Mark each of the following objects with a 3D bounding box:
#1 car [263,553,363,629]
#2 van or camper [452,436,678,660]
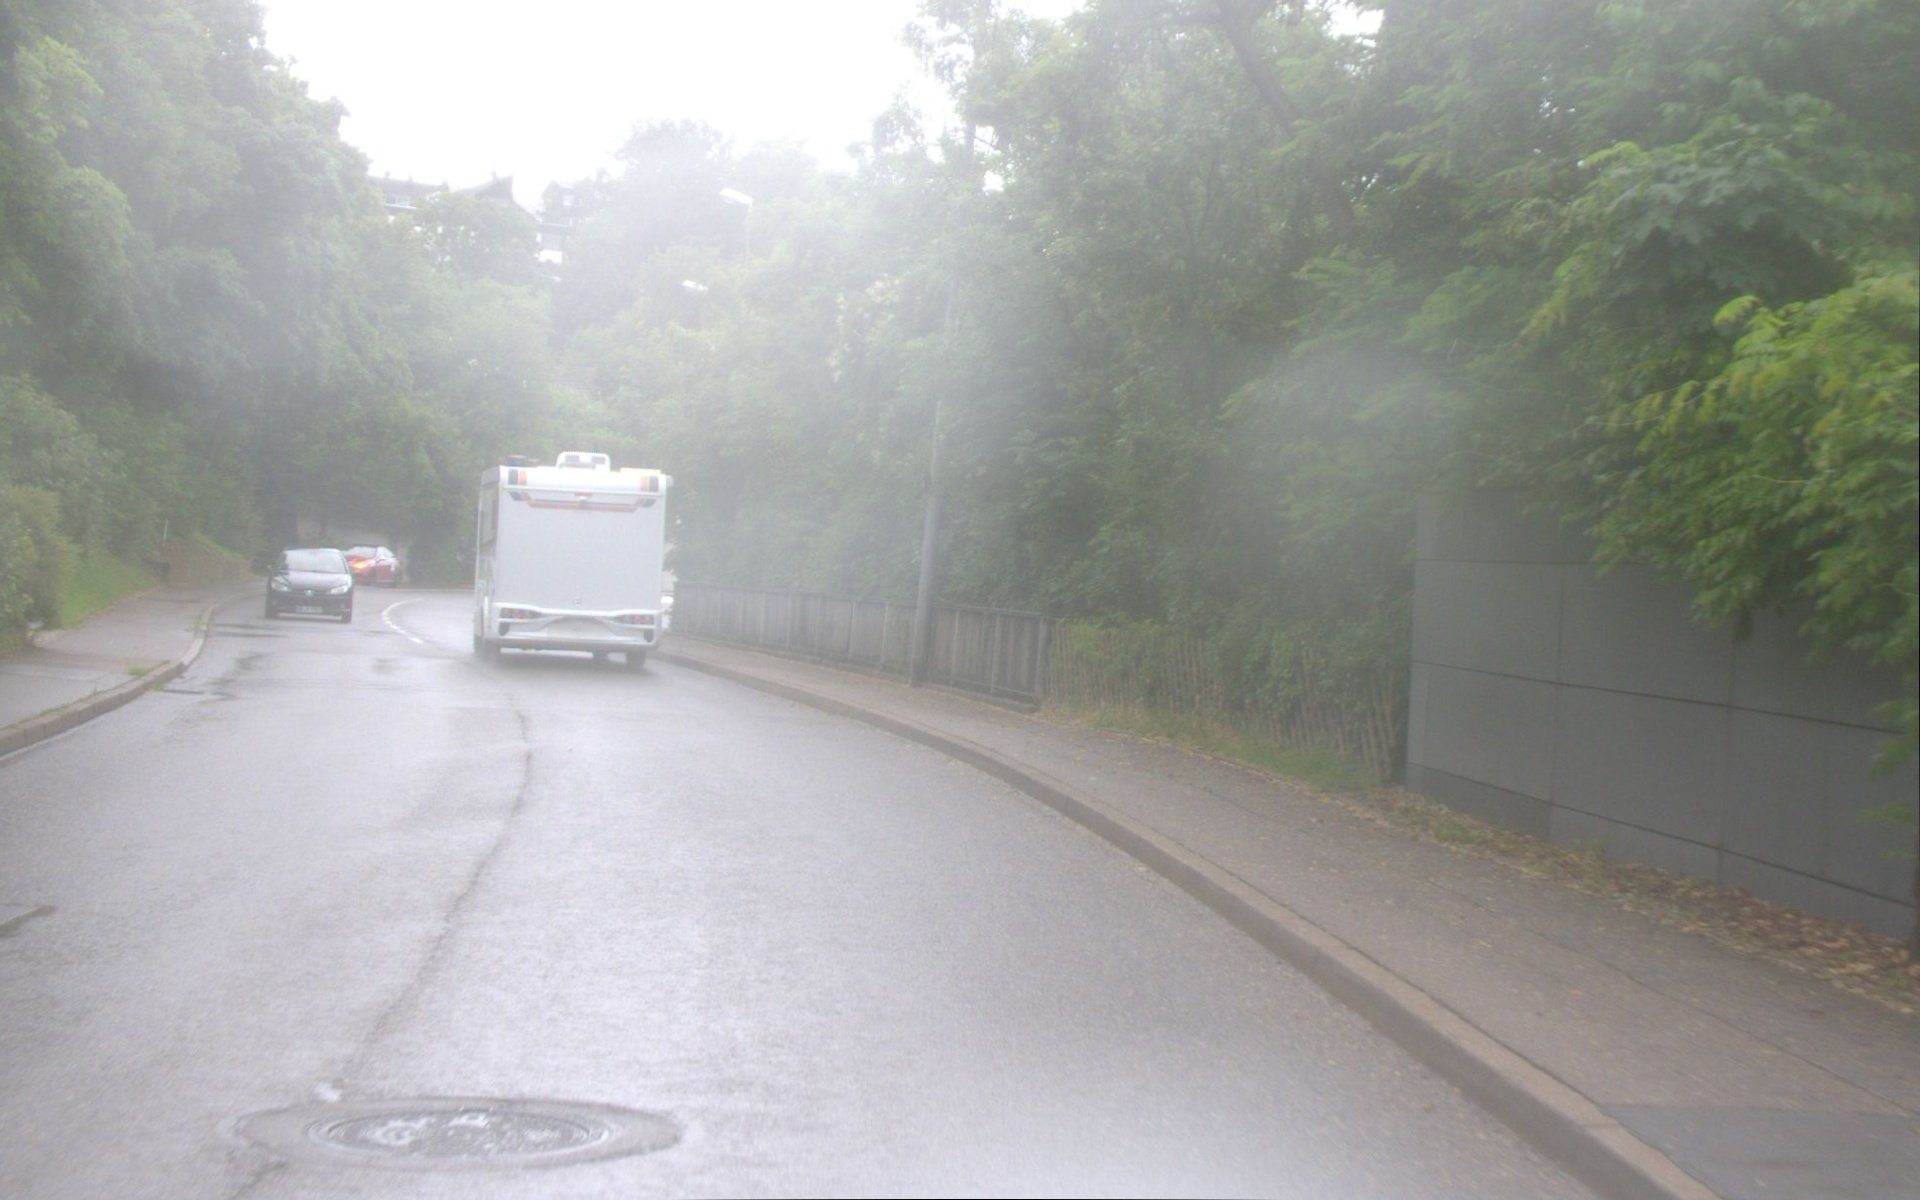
[{"bbox_3d":[-12.540,-0.196,66.789,1.650,1.380,3.530,2,0,-7],"label":"car"},{"bbox_3d":[-5.601,-0.664,47.973,2.539,2.915,5.949,0,0,-12],"label":"van or camper"}]
